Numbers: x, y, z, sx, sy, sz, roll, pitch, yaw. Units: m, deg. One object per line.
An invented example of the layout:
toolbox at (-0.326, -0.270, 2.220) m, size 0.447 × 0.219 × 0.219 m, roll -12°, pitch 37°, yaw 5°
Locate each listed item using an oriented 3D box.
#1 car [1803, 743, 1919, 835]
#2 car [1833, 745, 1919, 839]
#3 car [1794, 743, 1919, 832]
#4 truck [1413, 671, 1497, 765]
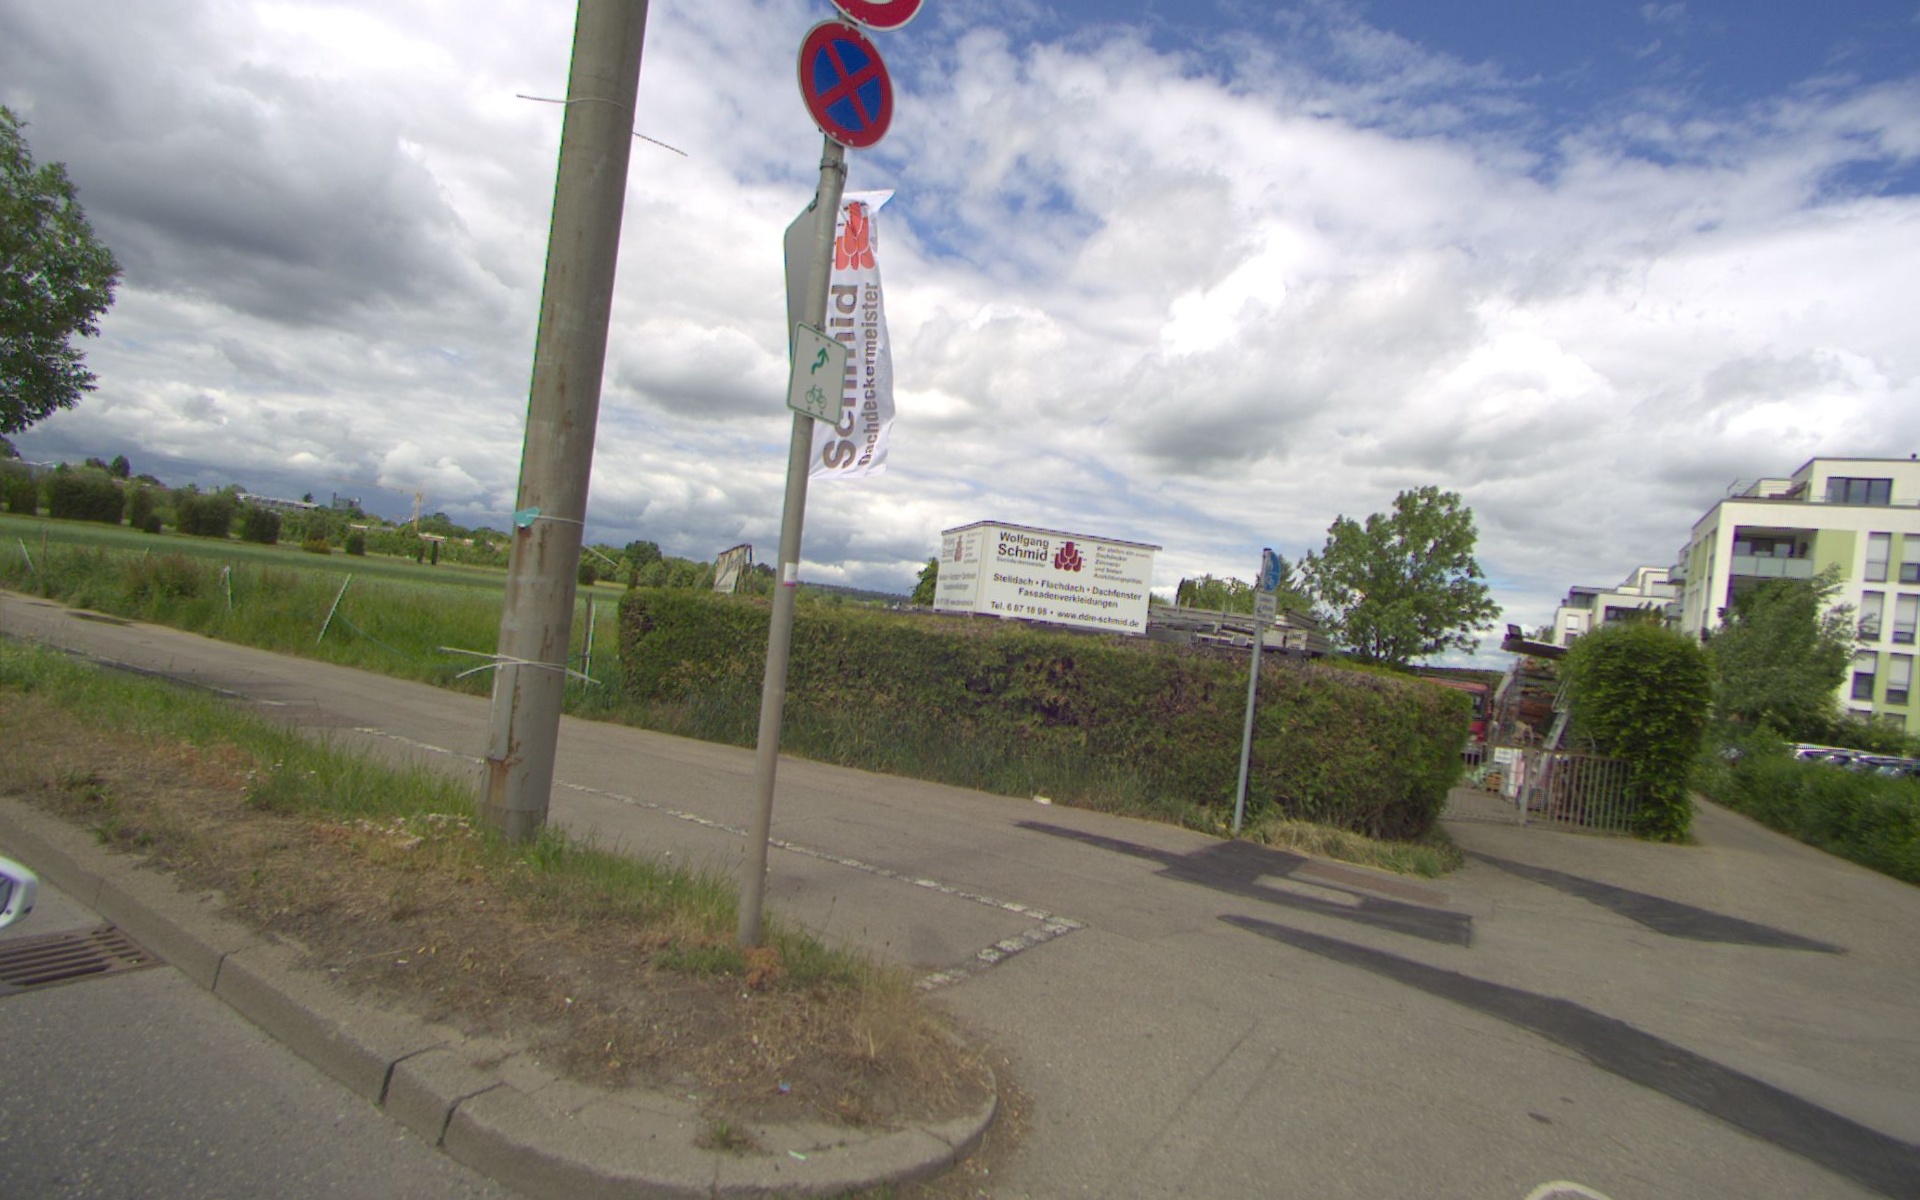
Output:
car at (24.076, 4.884, 25.381) m, size 3.937 × 1.953 × 1.997 m, roll 5°, pitch -3°, yaw 34°
car at (22.976, 4.612, 23.175) m, size 3.937 × 1.953 × 1.997 m, roll 5°, pitch -3°, yaw 34°
car at (25.473, 5.181, 27.359) m, size 3.937 × 1.953 × 1.997 m, roll 5°, pitch -3°, yaw 34°
truck at (16.859, 3.916, 34.277) m, size 2.130 × 2.674 × 5.933 m, roll 6°, pitch -2°, yaw 27°
